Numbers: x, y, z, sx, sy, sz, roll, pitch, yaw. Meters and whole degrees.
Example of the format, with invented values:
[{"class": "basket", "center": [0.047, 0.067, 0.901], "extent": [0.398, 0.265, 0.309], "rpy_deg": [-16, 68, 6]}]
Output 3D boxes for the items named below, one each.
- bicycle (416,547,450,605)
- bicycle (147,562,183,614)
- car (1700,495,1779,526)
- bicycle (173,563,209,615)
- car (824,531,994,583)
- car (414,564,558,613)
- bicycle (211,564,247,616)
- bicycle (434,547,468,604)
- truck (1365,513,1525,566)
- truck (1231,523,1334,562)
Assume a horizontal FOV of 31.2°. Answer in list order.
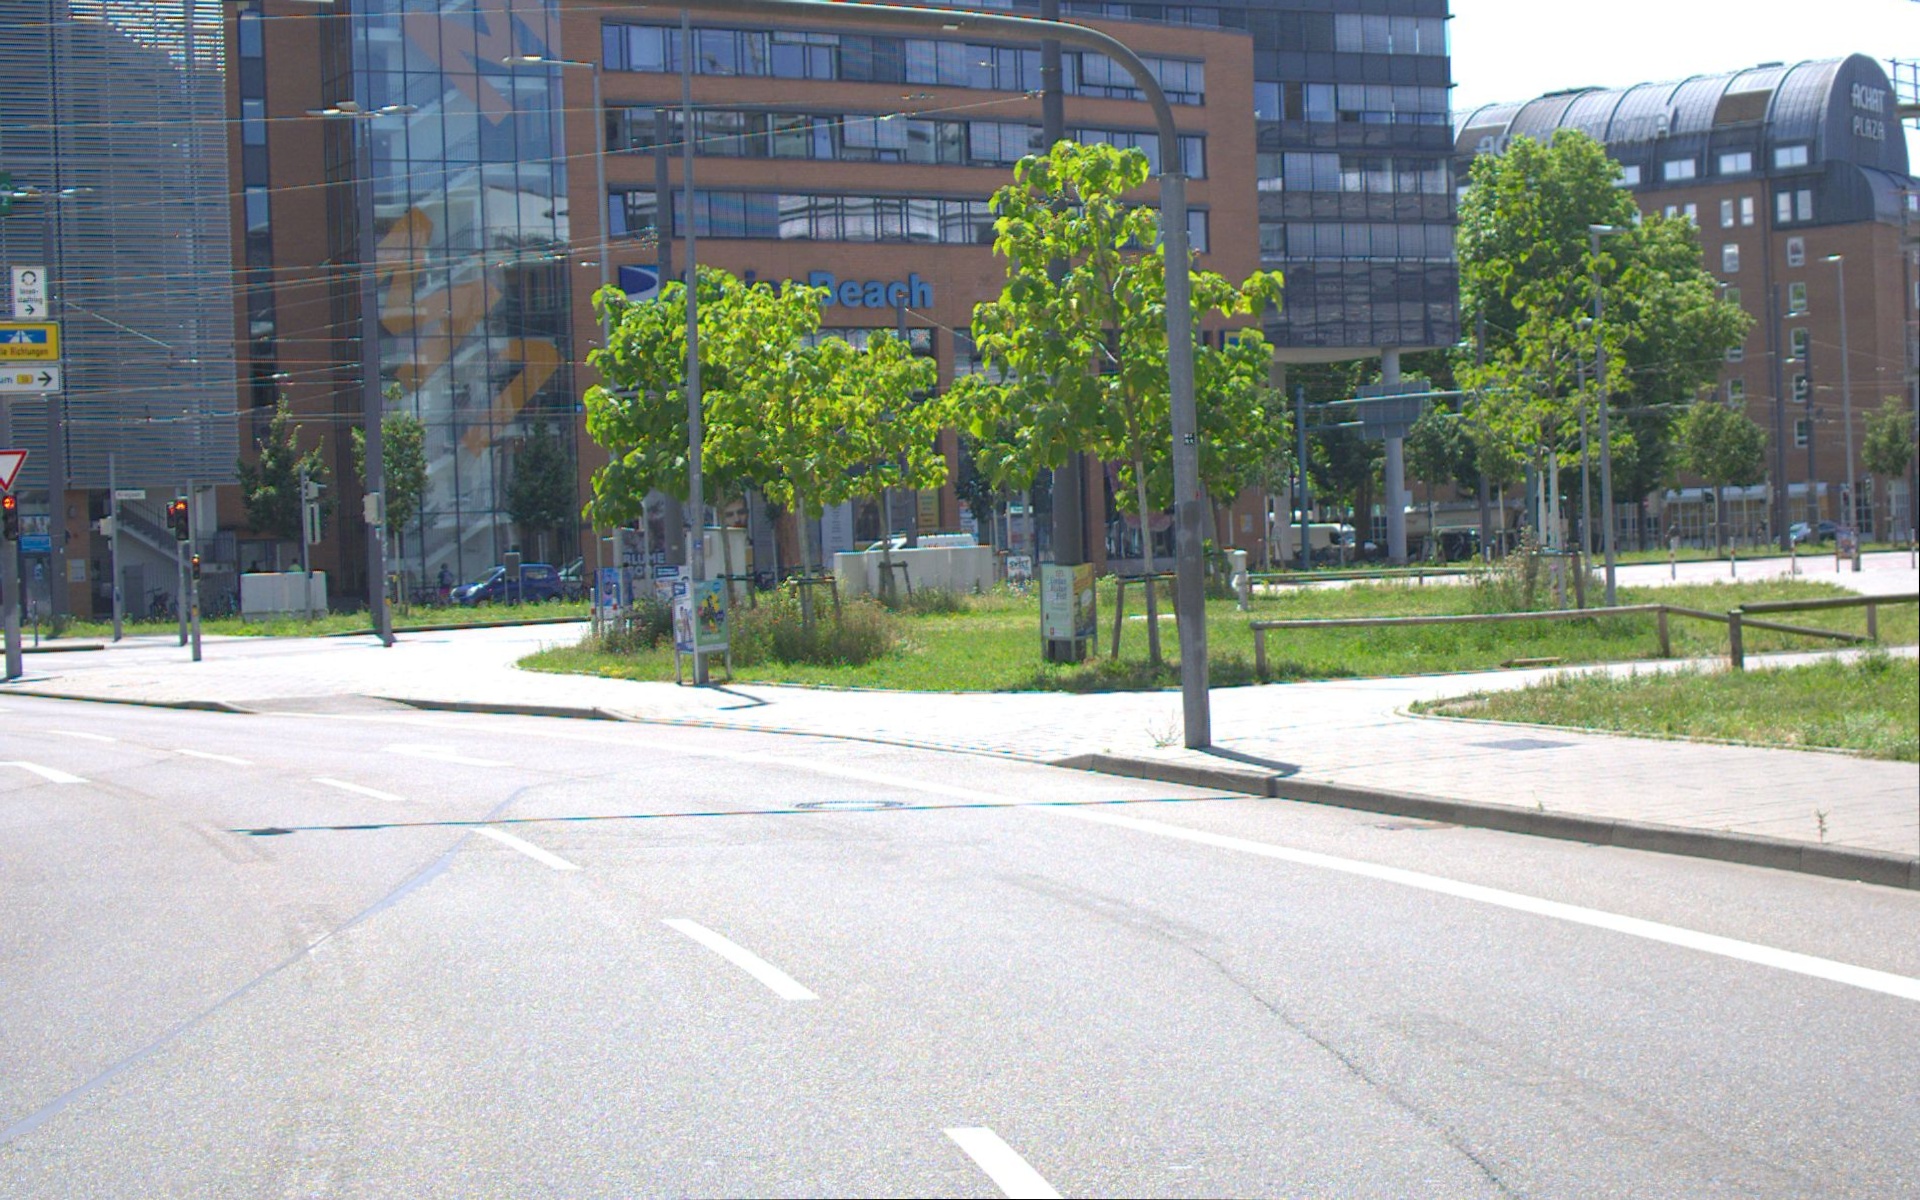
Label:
[{"class": "bicycle", "center": [-18.490, -0.827, 120.565], "extent": [0.485, 2.007, 2.347], "rpy_deg": [-1, 1, -26]}, {"class": "bicycle", "center": [-26.605, -0.398, 115.009], "extent": [0.598, 1.725, 2.260], "rpy_deg": [-1, 1, -27]}, {"class": "car", "center": [44.895, -5.144, 197.959], "extent": [3.996, 1.722, 1.862], "rpy_deg": [0, 1, 40]}, {"class": "bicycle", "center": [-25.814, -0.369, 115.426], "extent": [0.598, 1.725, 2.260], "rpy_deg": [-1, 1, -27]}, {"class": "car", "center": [-1.689, -1.440, 115.247], "extent": [5.463, 1.662, 2.000], "rpy_deg": [-1, 1, -34]}, {"class": "car", "center": [-14.525, -0.365, 105.448], "extent": [3.987, 1.437, 1.744], "rpy_deg": [-1, 1, -29]}, {"class": "bicycle", "center": [-24.660, -0.347, 115.990], "extent": [0.598, 1.725, 2.260], "rpy_deg": [-1, 1, -27]}, {"class": "bicycle", "center": [-17.897, -0.863, 120.869], "extent": [0.485, 2.007, 2.347], "rpy_deg": [-1, 1, -26]}, {"class": "truck", "center": [26.908, -3.336, 191.116], "extent": [9.232, 2.799, 1.995], "rpy_deg": [0, 1, 41]}, {"class": "truck", "center": [17.542, -3.130, 187.232], "extent": [5.374, 2.007, 1.878], "rpy_deg": [0, 1, 37]}]
